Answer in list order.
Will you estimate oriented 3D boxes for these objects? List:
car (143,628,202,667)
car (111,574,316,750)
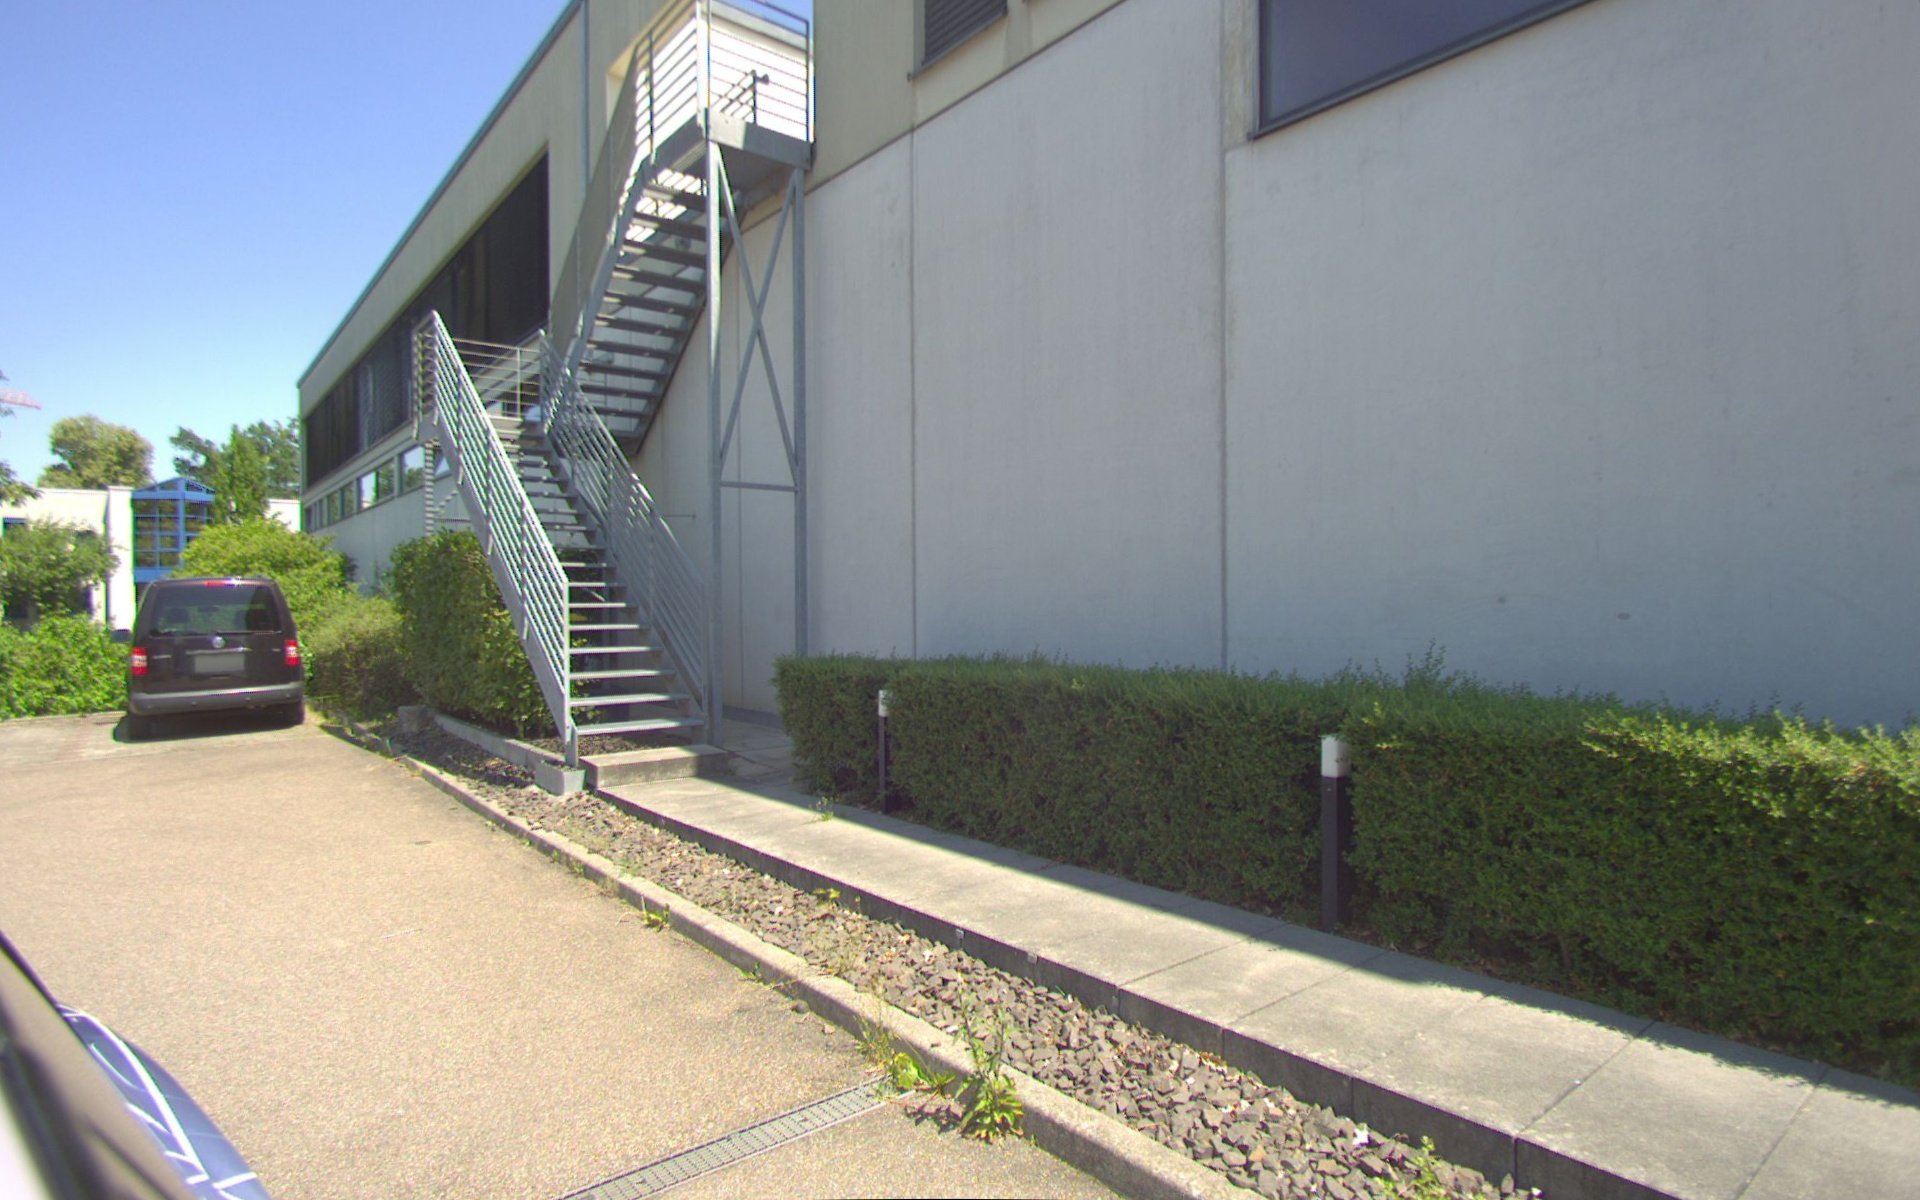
[{"bbox_3d":[-36.294,2.152,46.605,1.809,1.579,4.004,-1,1,-43],"label":"car"},{"bbox_3d":[-9.726,0.672,13.046,1.839,1.874,4.236,-2,0,-40],"label":"car"}]
